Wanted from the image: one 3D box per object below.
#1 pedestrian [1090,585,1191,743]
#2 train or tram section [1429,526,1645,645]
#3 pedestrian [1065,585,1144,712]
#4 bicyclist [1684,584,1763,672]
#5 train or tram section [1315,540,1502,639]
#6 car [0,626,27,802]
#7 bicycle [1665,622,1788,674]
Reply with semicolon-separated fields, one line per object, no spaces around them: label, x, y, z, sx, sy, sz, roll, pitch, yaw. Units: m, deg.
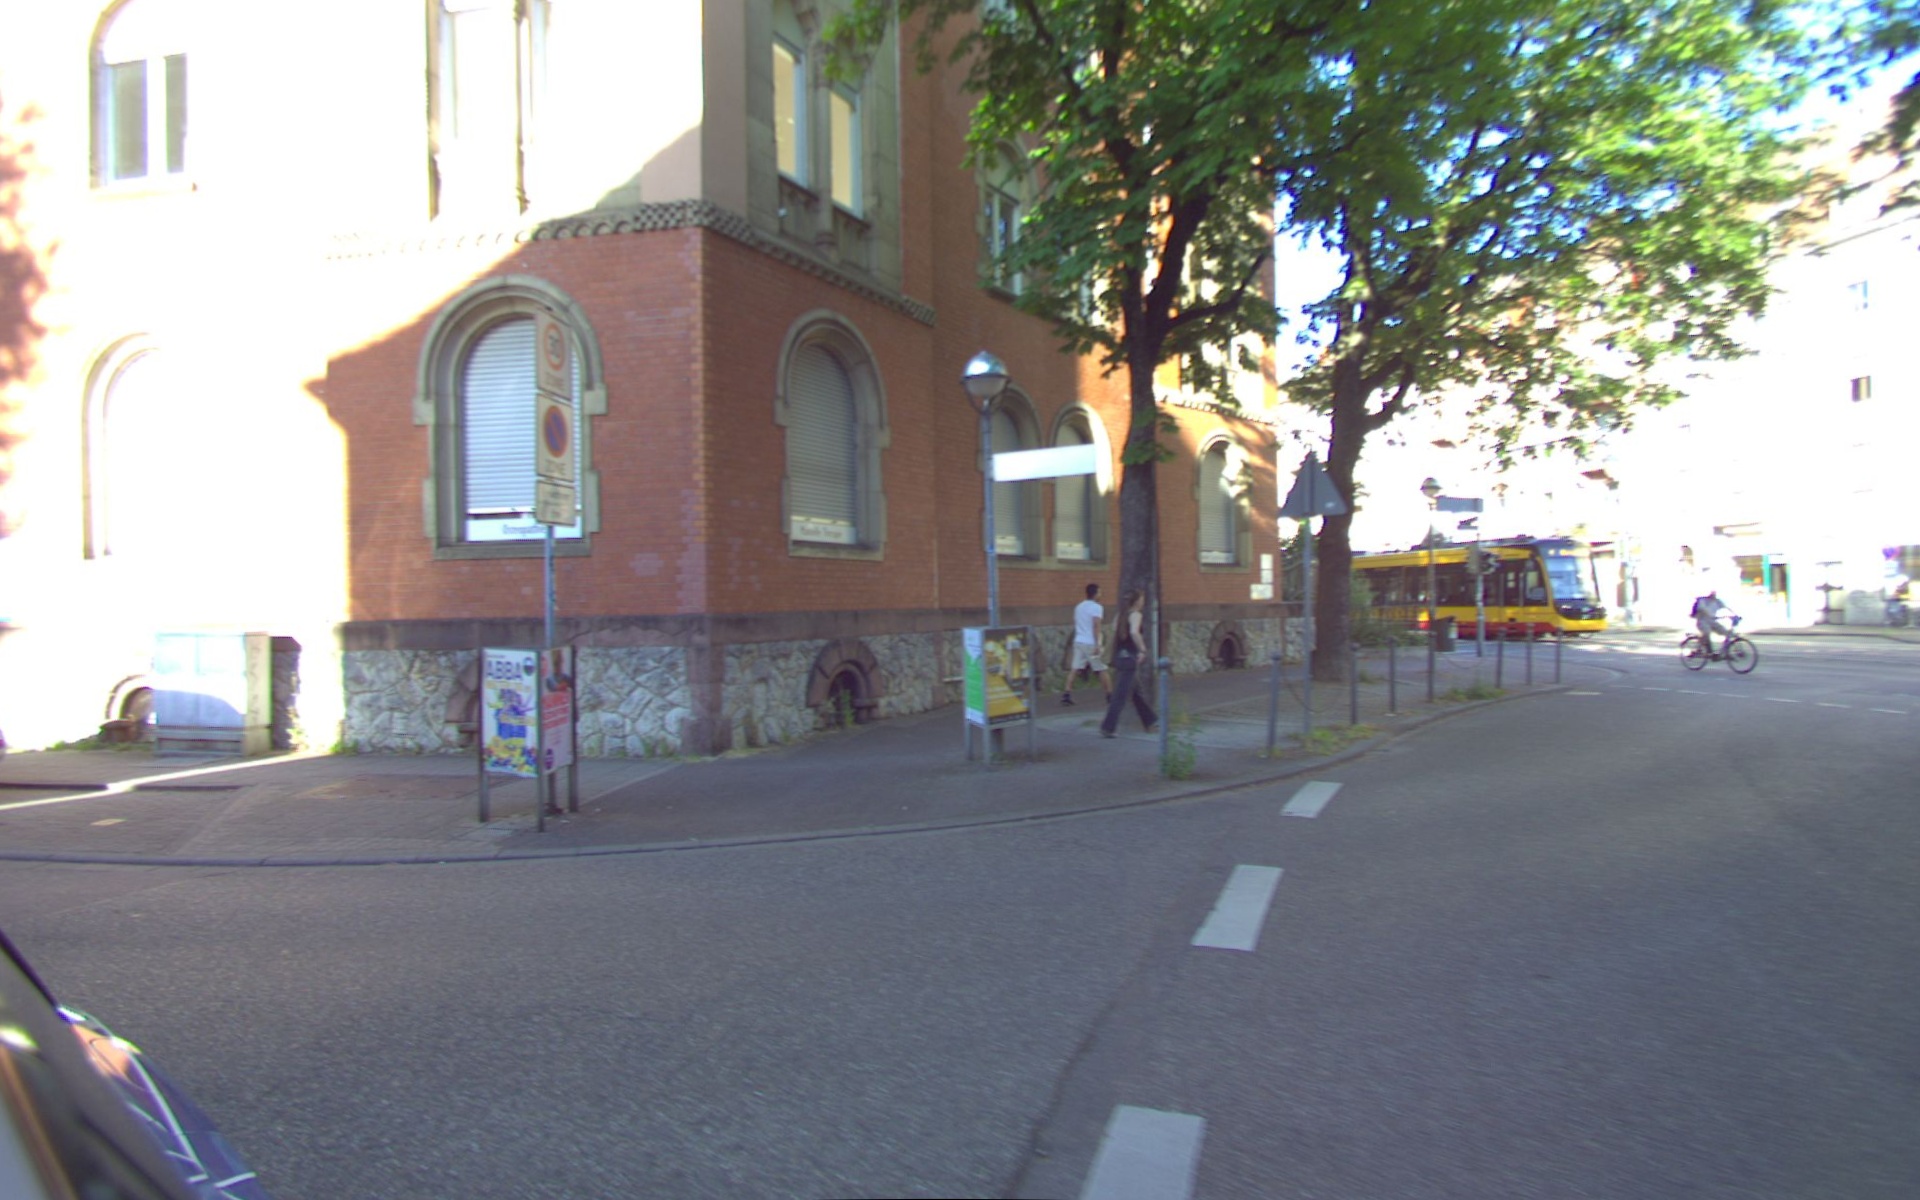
pedestrian;1.930;0.662;10.857;0.840;1.617;0.604;-1;-1;-23
train or tram section;19.539;-0.427;34.823;2.874;3.668;6.362;-1;-1;-12
pedestrian;1.952;0.640;13.770;0.847;1.655;0.870;-1;-1;-4
bicyclist;15.596;0.557;20.695;0.685;1.729;1.049;-1;-1;-10
train or tram section;18.097;-0.337;41.572;2.874;3.642;7.878;-1;-1;-12
car;-10.192;1.043;8.376;3.756;1.496;1.705;-1;1;11
bicycle;15.587;0.949;20.647;0.758;0.965;1.986;-1;-1;-10
